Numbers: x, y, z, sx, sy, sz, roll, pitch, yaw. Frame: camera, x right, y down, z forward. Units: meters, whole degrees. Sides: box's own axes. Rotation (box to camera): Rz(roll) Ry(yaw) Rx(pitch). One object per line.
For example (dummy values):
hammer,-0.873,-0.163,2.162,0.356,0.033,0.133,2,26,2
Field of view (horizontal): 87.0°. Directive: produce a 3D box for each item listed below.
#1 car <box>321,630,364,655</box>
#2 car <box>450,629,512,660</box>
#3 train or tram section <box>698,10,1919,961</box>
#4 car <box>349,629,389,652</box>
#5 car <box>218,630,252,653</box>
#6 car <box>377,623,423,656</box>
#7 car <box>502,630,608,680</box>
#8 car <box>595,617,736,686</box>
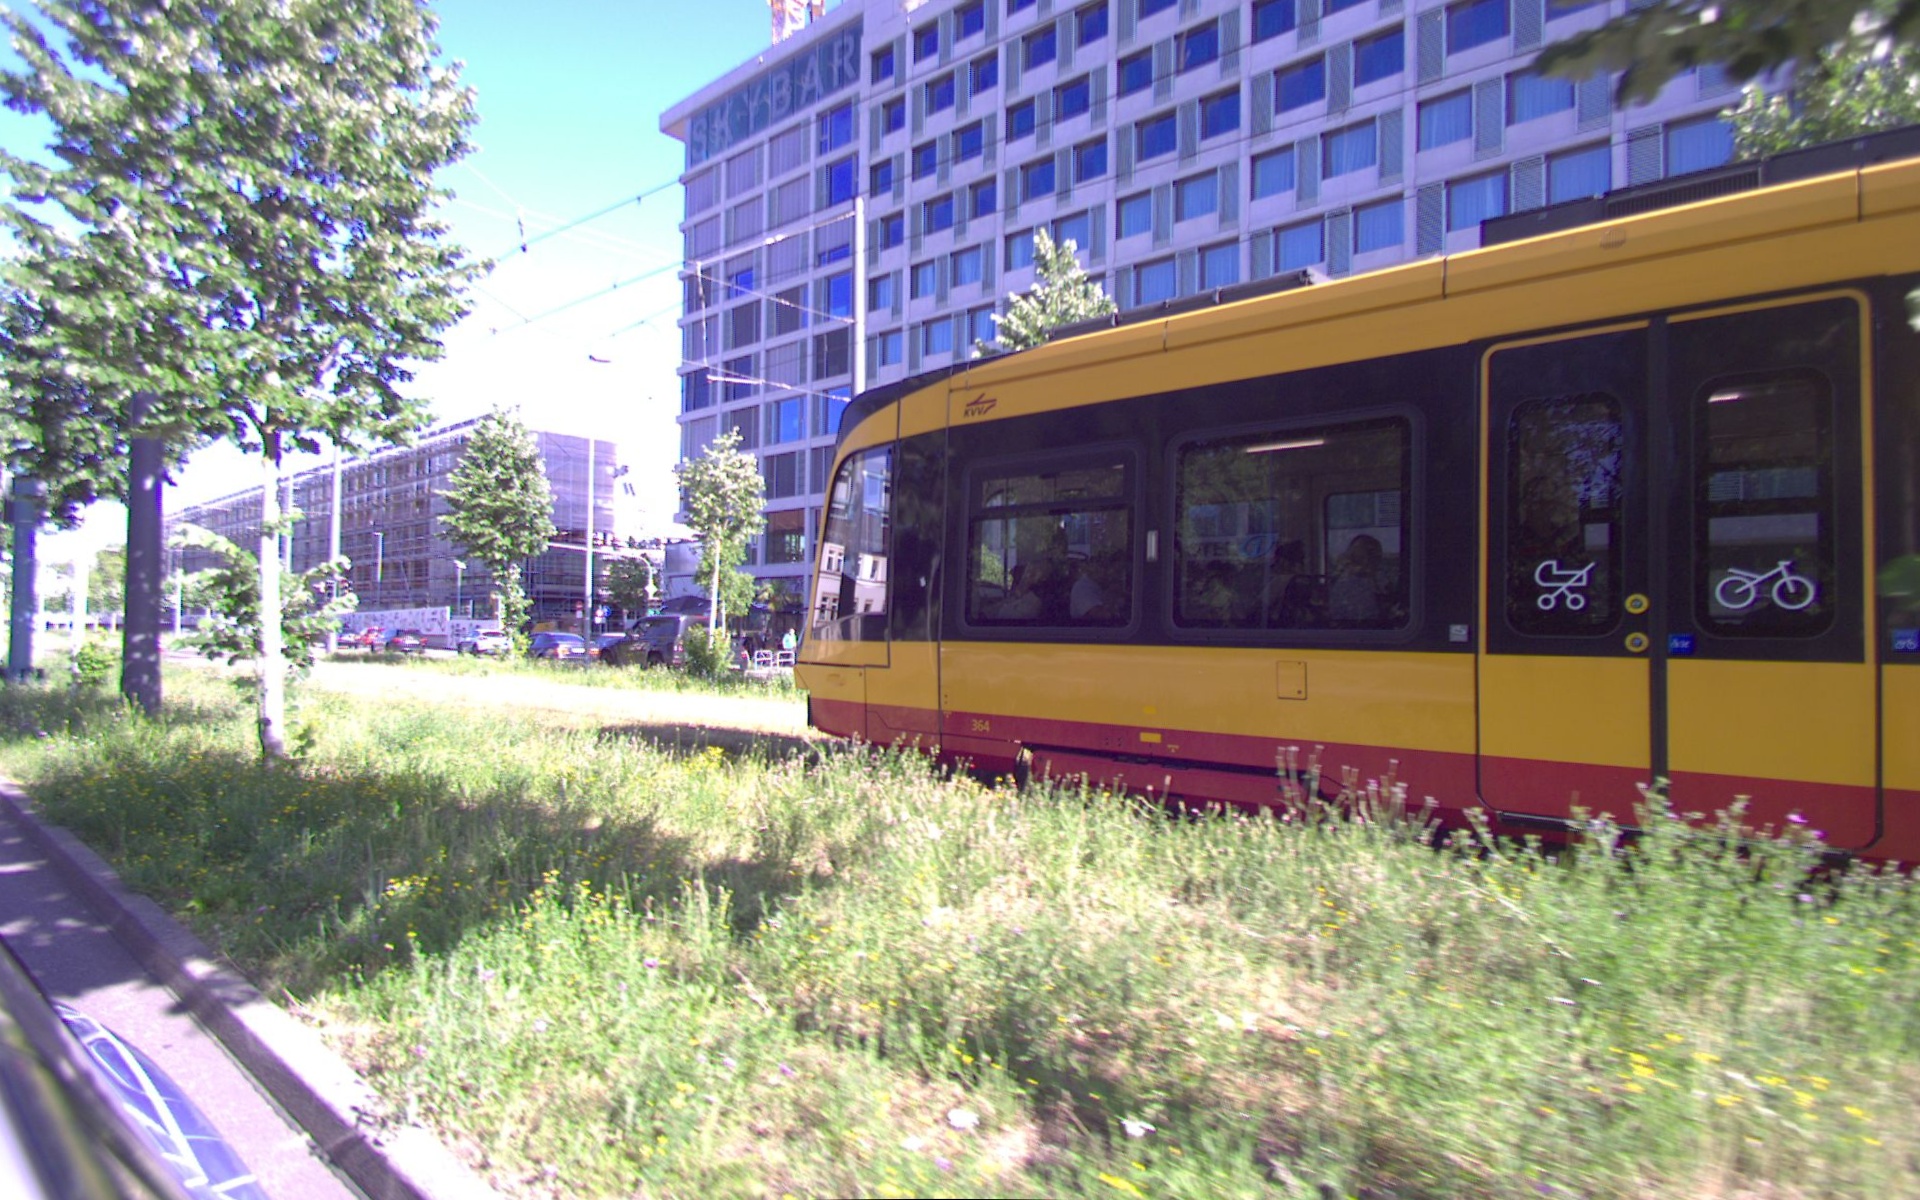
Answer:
car,-41.604,2.853,68.149,1.861,1.586,4.006,1,-1,-41
car,-25.540,2.328,53.884,4.002,1.558,1.718,-1,-1,45
train or tram section,3.659,-0.428,5.284,14.141,3.697,1.973,-1,-1,40
car,-43.760,2.975,74.935,1.861,1.586,4.006,1,-1,-41
car,-67.709,3.850,94.473,1.970,2.029,4.003,1,-1,-44
car,-30.288,2.123,54.677,1.749,1.686,3.899,1,-1,-35
car,-13.656,1.796,34.013,3.998,1.564,1.707,-1,-1,41
car,-8.545,1.410,29.205,4.284,1.833,1.972,-1,-1,42
